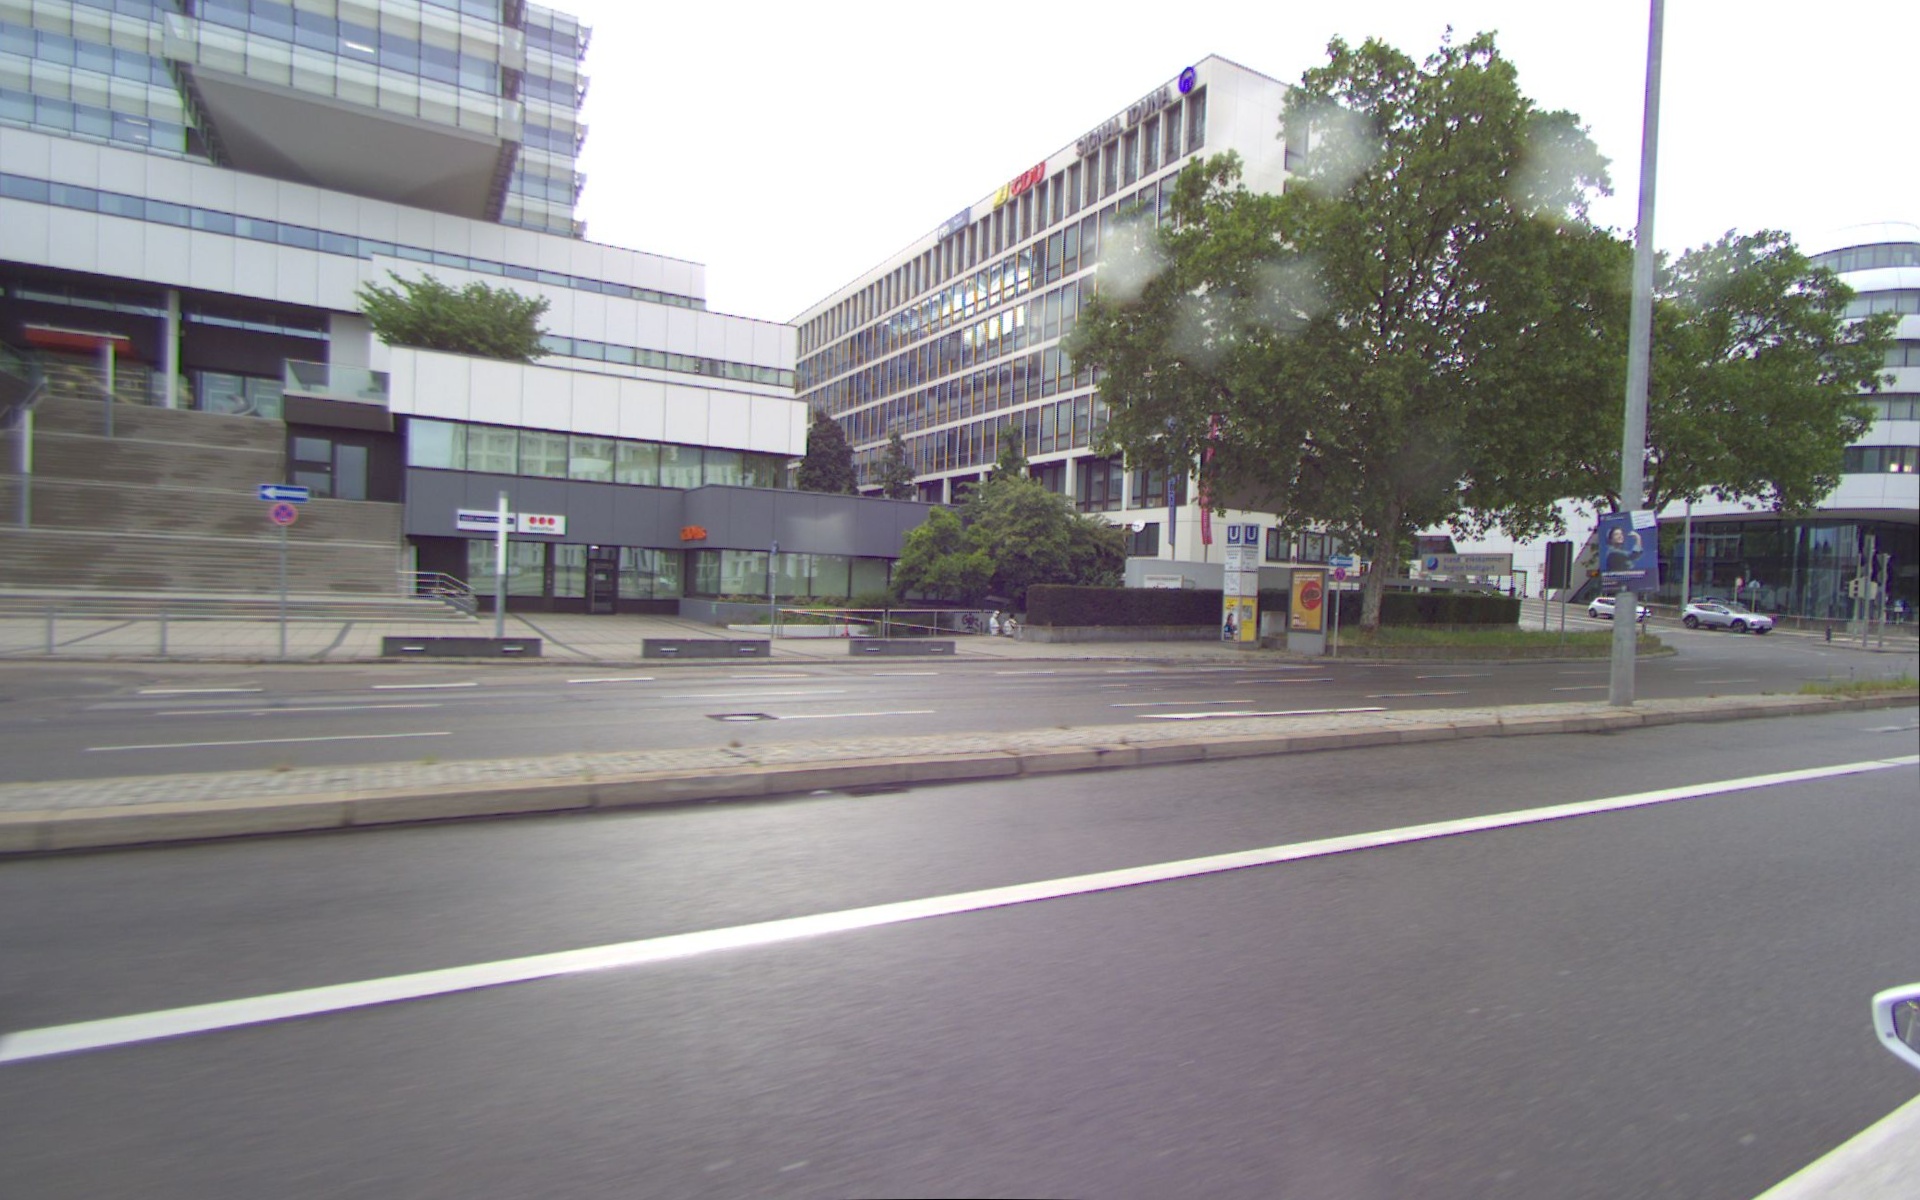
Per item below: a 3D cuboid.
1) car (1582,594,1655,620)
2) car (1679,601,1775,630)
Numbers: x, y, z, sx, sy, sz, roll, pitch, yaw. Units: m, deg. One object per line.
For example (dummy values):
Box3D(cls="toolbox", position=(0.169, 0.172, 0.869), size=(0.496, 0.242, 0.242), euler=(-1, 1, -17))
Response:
Box3D(cls="car", position=(45.294, 0.498, 69.206), size=(1.862, 1.653, 3.990), euler=(3, 0, -13))
Box3D(cls="car", position=(46.680, 0.928, 61.264), size=(1.862, 1.653, 4.505), euler=(3, 0, -13))
